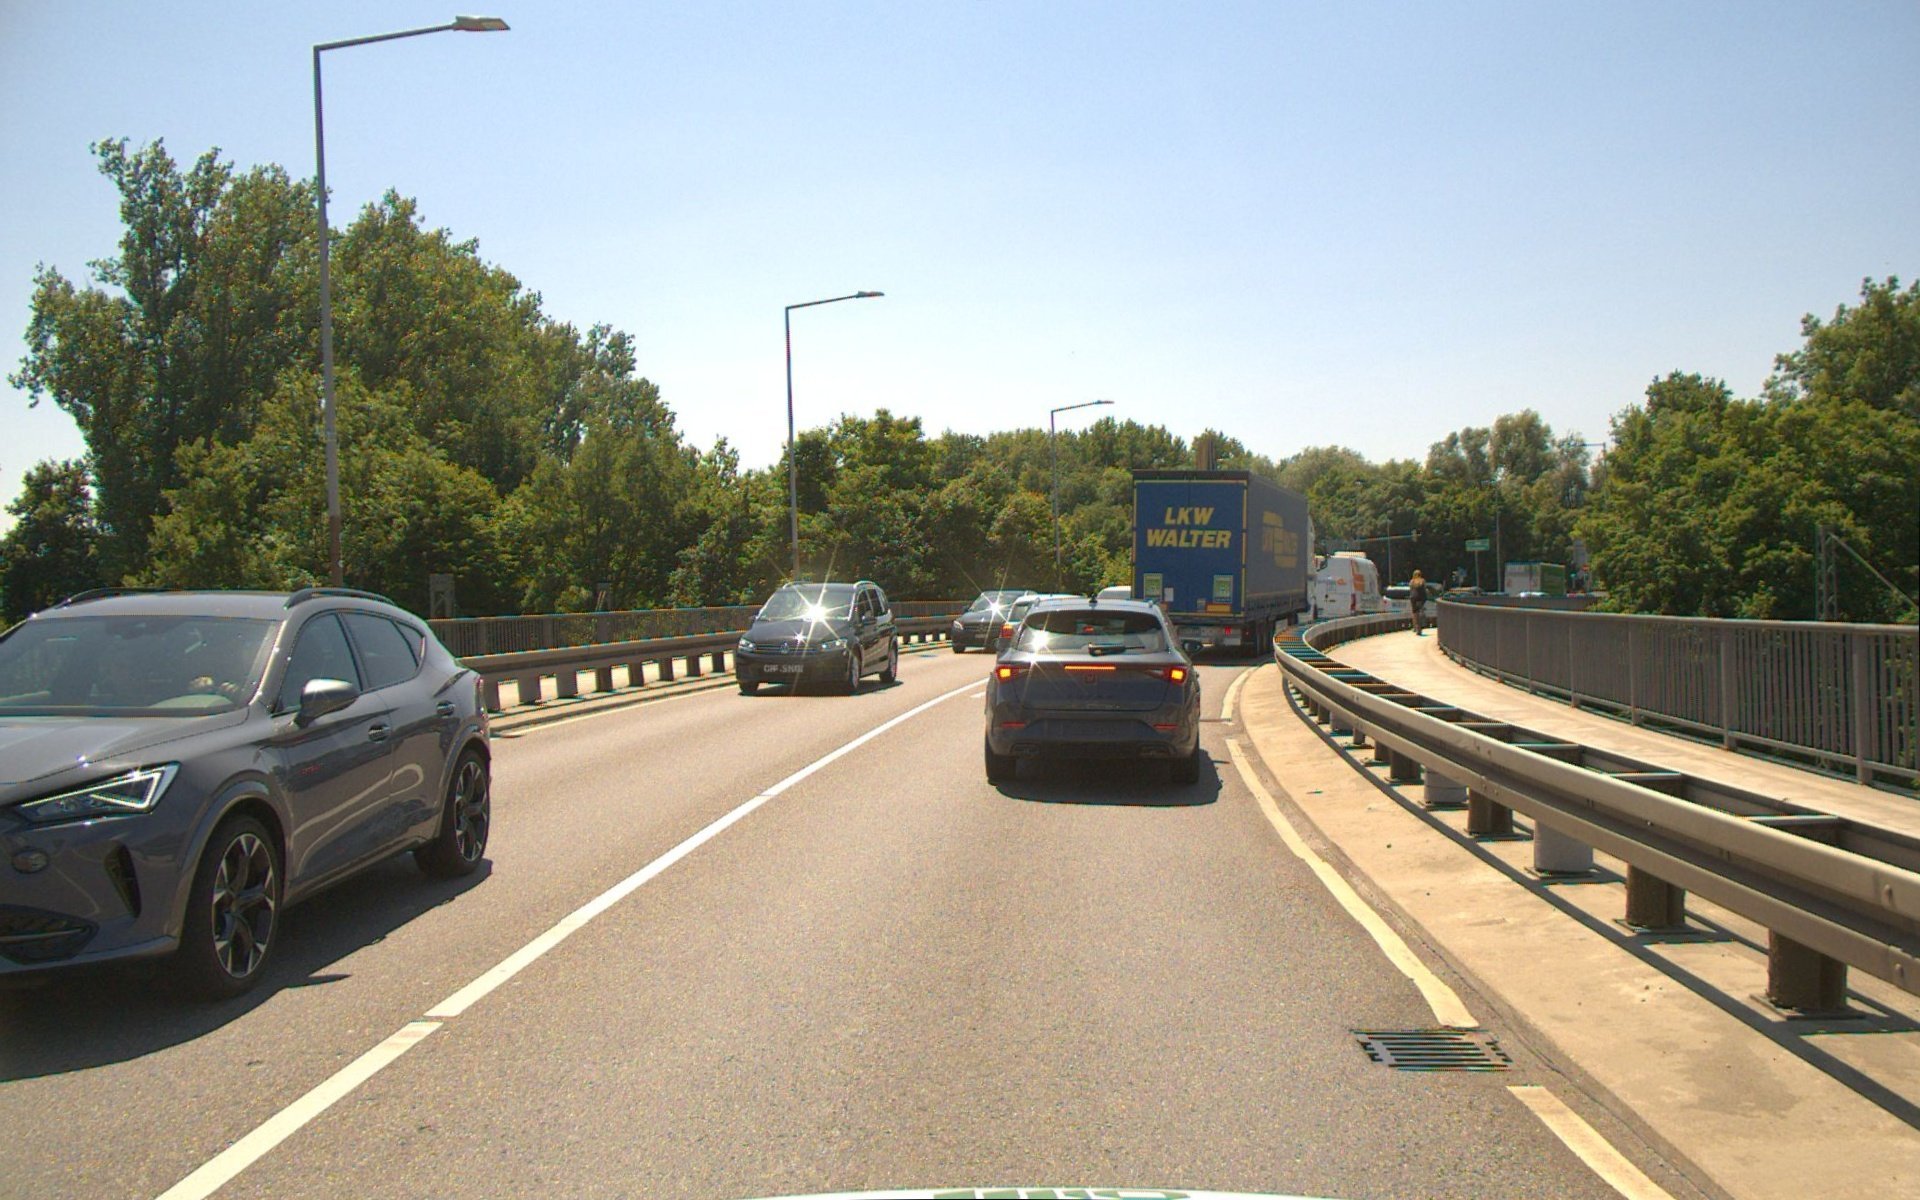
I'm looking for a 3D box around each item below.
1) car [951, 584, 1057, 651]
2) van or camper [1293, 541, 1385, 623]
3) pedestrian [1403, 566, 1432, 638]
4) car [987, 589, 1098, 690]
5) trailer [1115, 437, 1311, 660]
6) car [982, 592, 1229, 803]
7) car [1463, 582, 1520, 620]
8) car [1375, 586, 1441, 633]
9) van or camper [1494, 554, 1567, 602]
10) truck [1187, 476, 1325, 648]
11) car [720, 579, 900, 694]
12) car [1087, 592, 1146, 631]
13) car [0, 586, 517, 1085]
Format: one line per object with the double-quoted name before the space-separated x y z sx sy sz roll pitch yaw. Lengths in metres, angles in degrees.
"car" 1.128 0.413 40.425 1.666 1.537 3.583 -1 -1 17
"van or camper" 13.598 -0.649 59.106 2.159 2.758 5.923 0 1 23
"pedestrian" 12.856 0.066 46.435 0.721 2.002 0.734 0 -1 21
"car" 1.385 0.607 26.660 1.559 1.487 3.547 1 0 6
"trailer" 6.667 -1.049 41.387 3.068 4.695 12.955 1 0 16
"car" 1.137 0.708 14.054 1.807 1.525 3.759 0 0 2
"car" 27.009 0.063 83.956 1.855 1.882 3.989 0 -1 32
"car" 18.521 0.385 68.256 1.852 1.882 3.995 0 -1 27
"van or camper" 34.099 -1.289 98.836 2.447 2.331 4.935 6 0 39
"truck" 8.851 -0.993 48.696 3.103 4.665 7.400 0 -1 17
"car" -2.235 0.538 25.723 1.865 1.617 4.003 -1 -1 9
"car" 5.050 0.376 53.246 1.225 1.196 2.921 0 -1 19
"car" -3.495 0.739 7.227 1.847 1.523 4.316 -1 0 1
